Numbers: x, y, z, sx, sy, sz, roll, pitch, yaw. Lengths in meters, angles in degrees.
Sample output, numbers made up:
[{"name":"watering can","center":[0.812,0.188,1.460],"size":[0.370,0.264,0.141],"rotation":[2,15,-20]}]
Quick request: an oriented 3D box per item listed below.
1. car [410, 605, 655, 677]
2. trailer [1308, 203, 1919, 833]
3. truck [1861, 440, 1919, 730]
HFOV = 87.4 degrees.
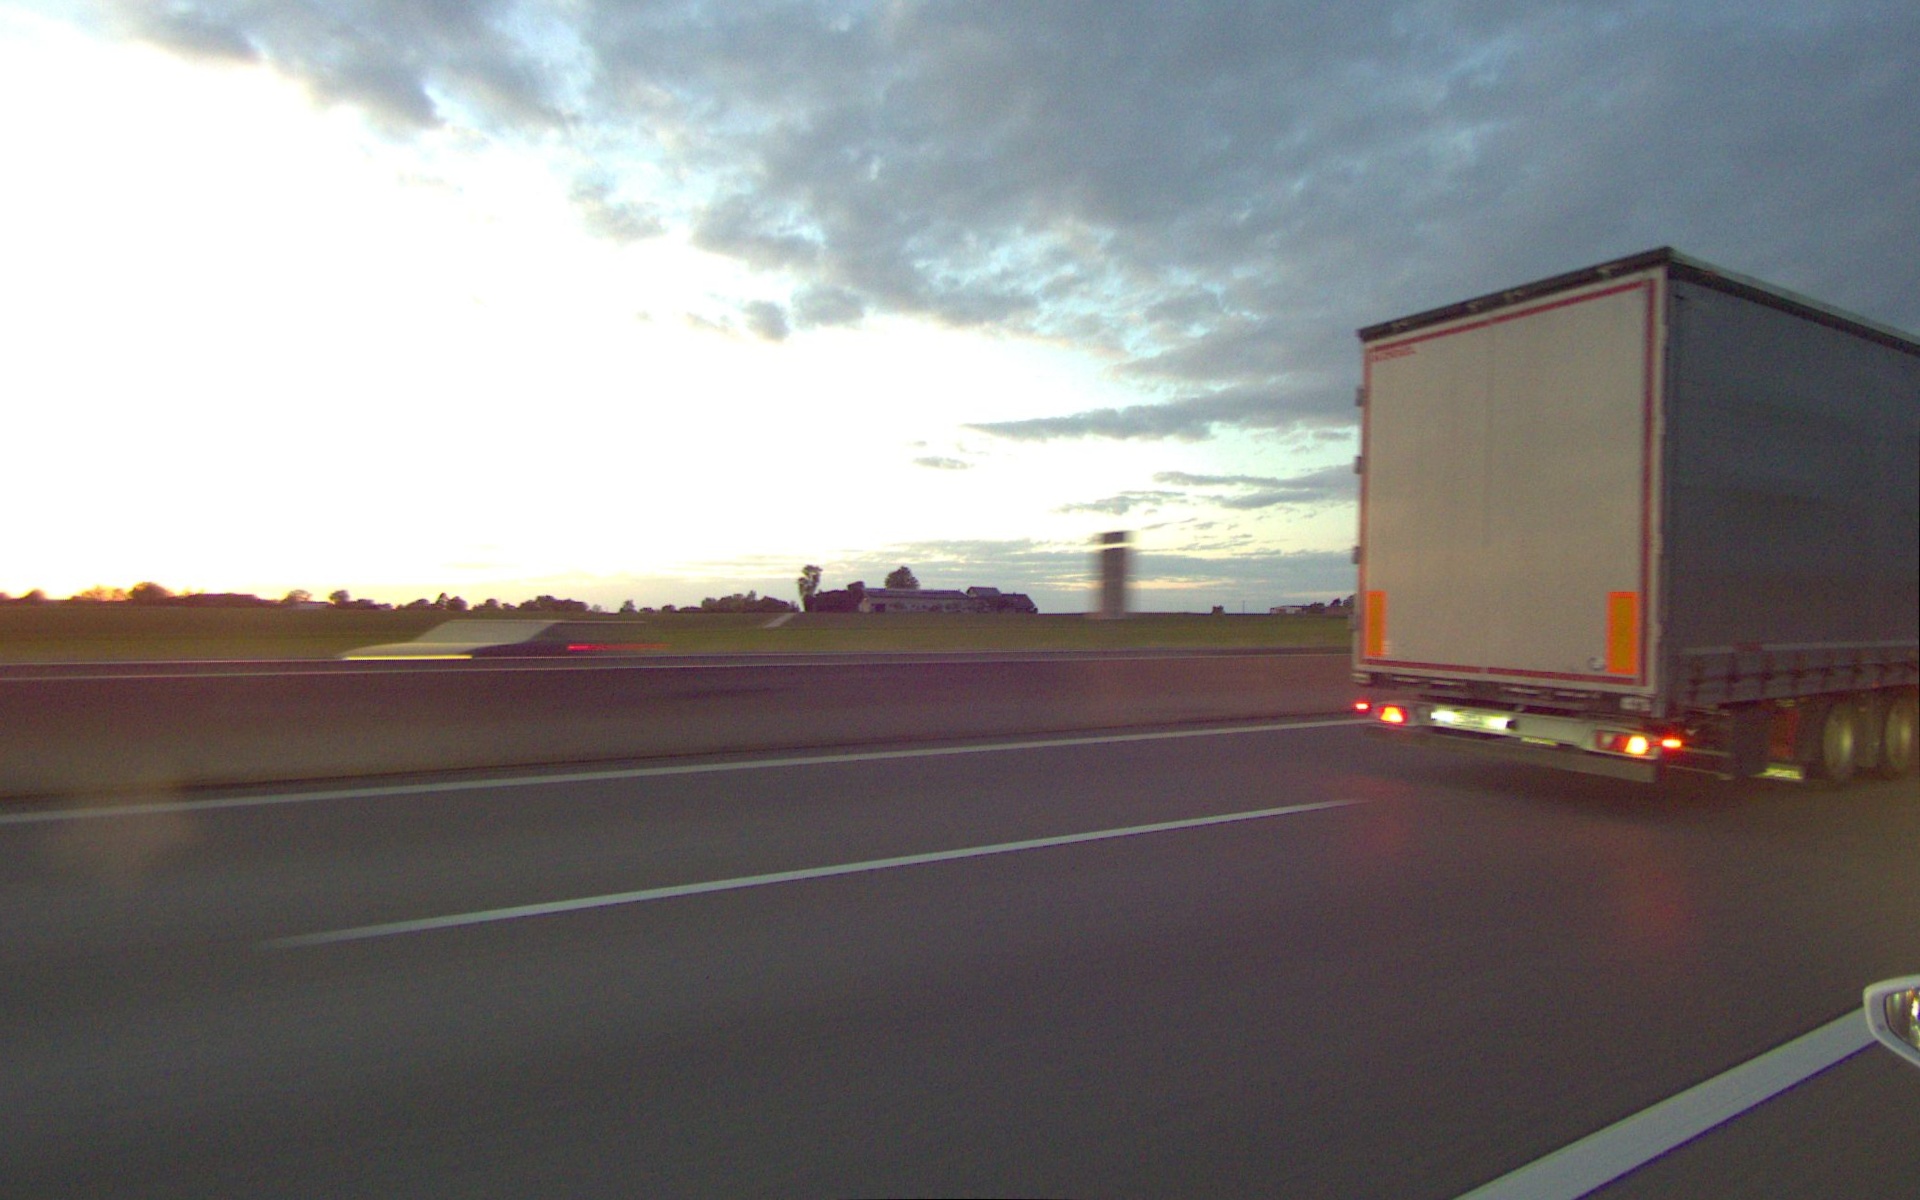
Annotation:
[{"name":"car","center":[-8.839,0.836,20.866],"size":[4.499,1.337,1.727],"rotation":[2,0,-30]},{"name":"trailer","center":[10.036,-0.334,11.395],"size":[14.353,4.139,2.781],"rotation":[2,-1,-30]},{"name":"truck","center":[16.686,-0.147,15.242],"size":[6.030,4.147,2.765],"rotation":[2,-1,-30]}]
